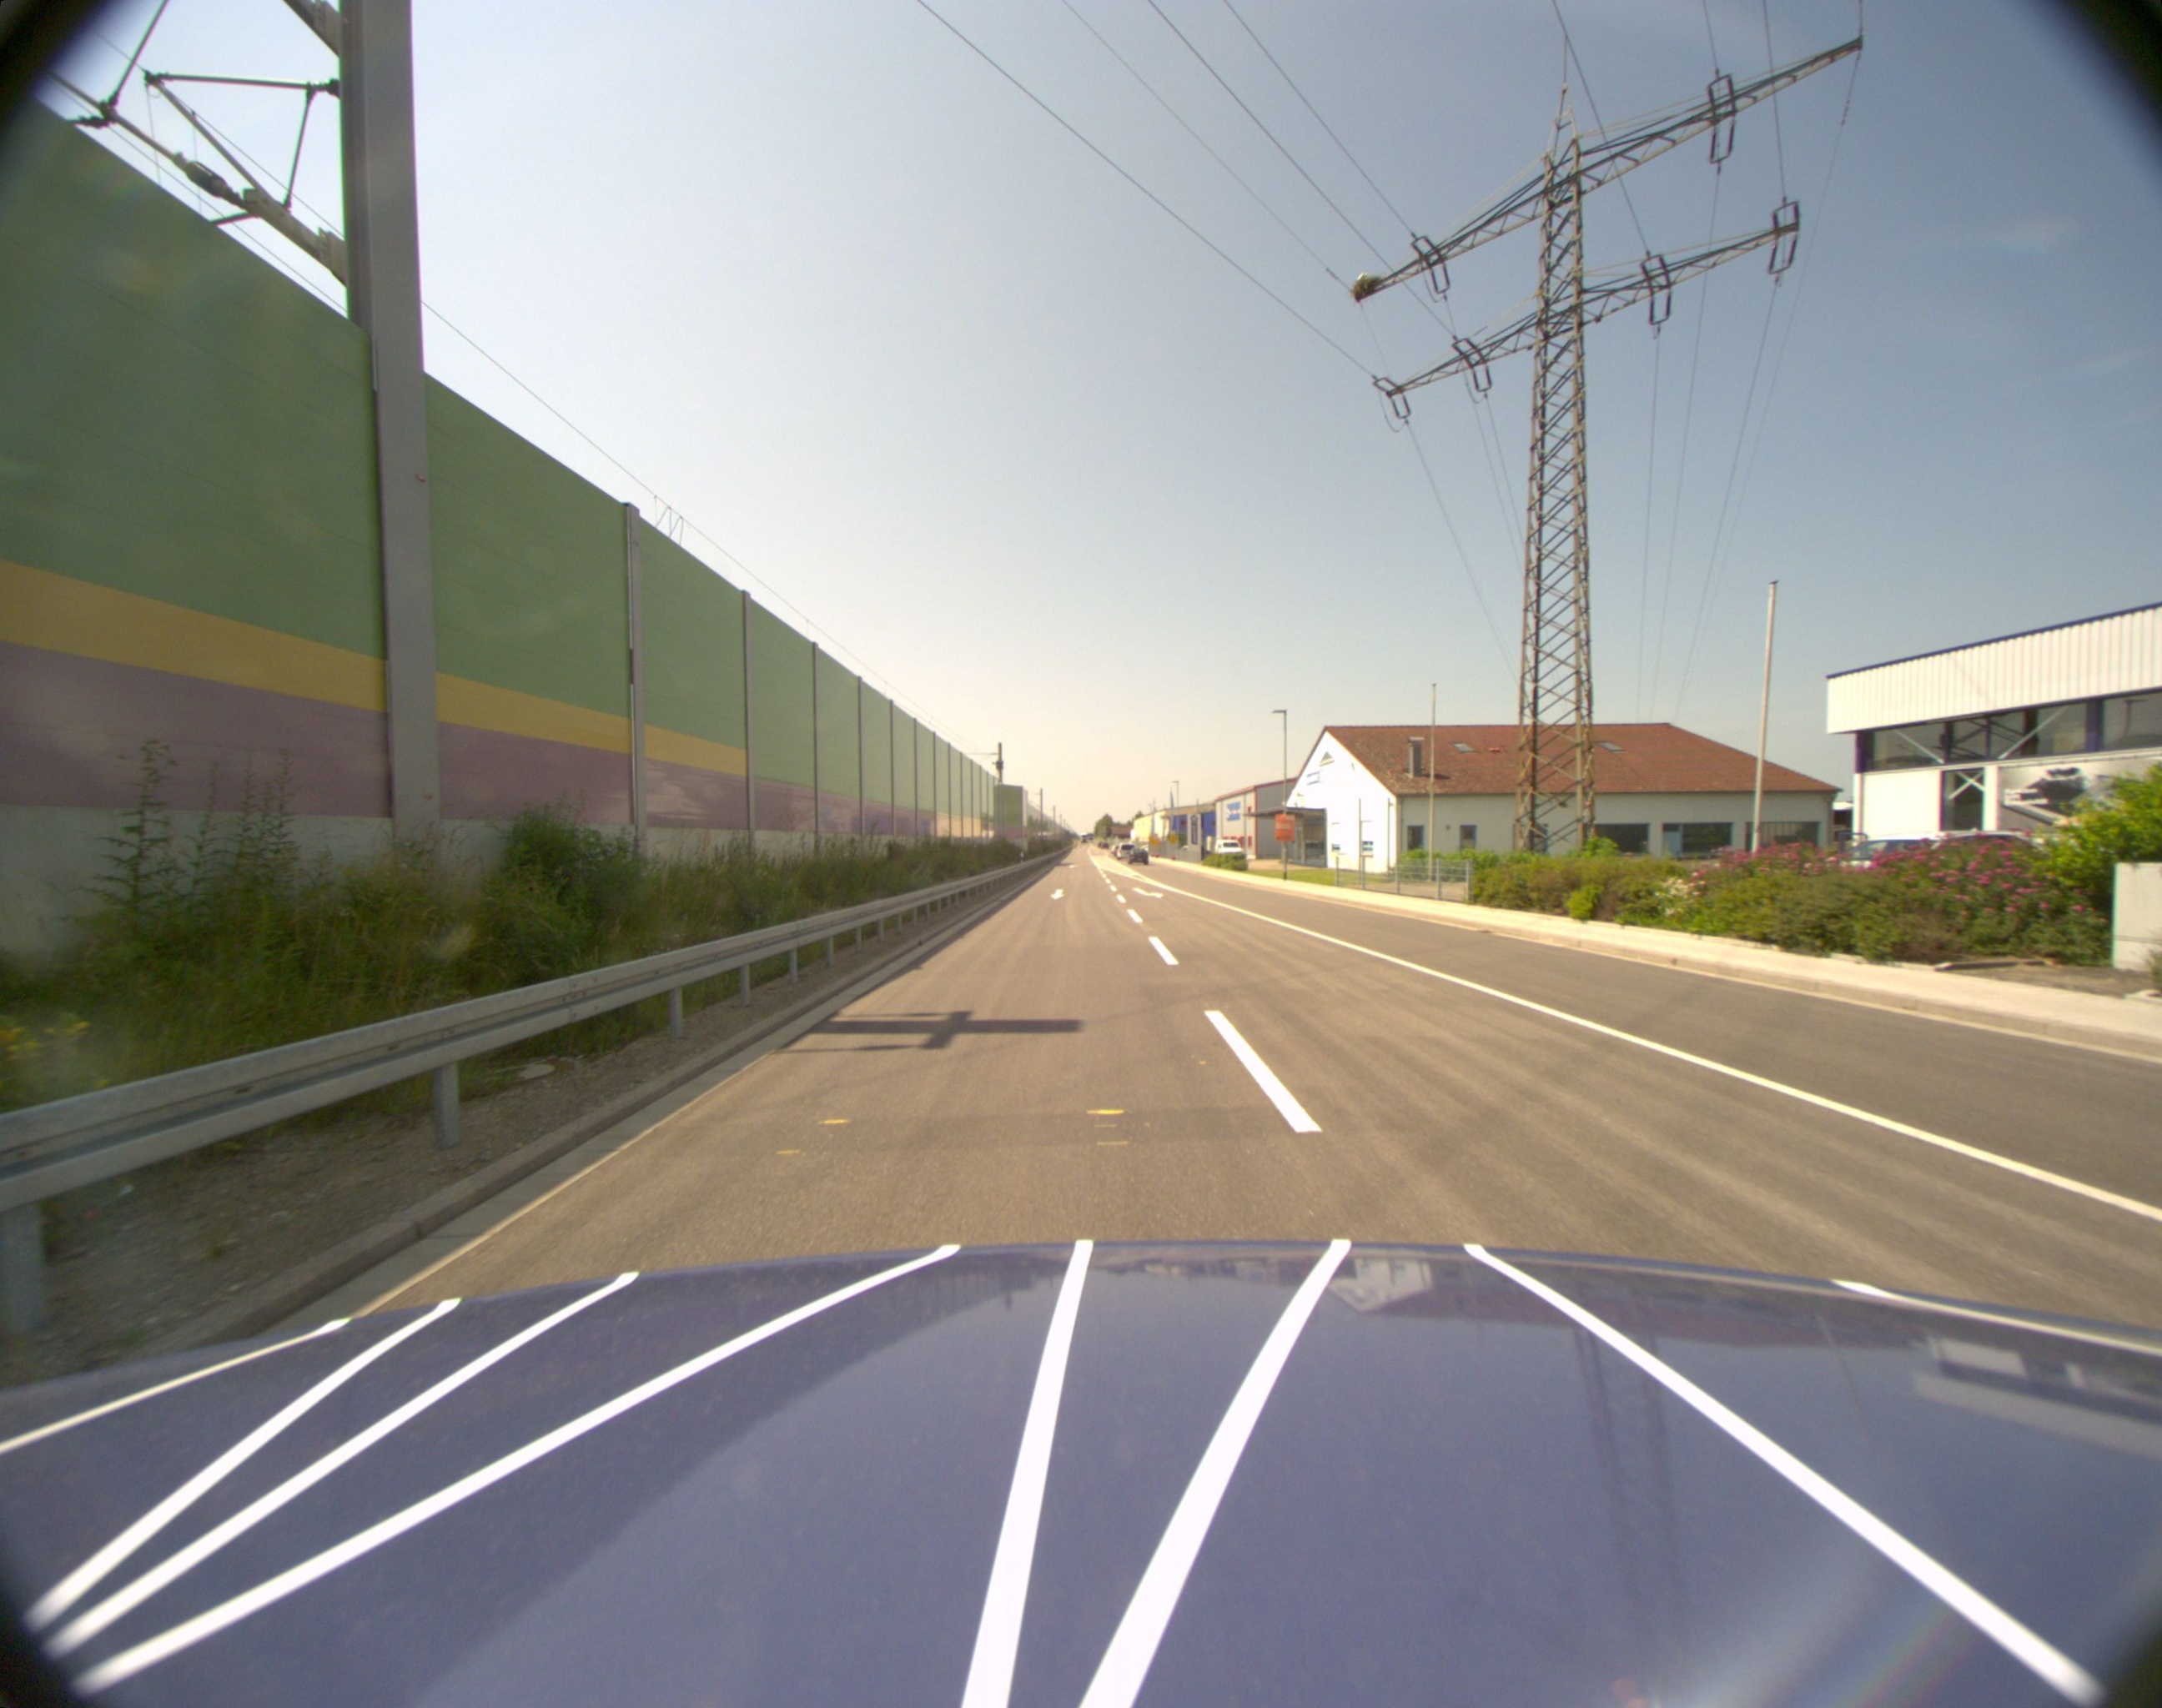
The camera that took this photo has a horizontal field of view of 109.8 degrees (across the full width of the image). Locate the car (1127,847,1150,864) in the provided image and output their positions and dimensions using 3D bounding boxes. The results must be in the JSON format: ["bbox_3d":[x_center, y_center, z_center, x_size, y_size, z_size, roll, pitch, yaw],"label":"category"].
[{"bbox_3d":[5.008,0.116,66.256,1.675,1.415,3.999,1,1,0],"label":"car"}]

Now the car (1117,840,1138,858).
[{"bbox_3d":[5.187,-0.576,85.671,1.999,1.863,5.167,0,2,-1],"label":"car"}]

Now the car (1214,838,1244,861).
[{"bbox_3d":[13.882,-0.469,71.355,1.998,2.002,4.679,0,2,1],"label":"car"}]

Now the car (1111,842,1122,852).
[{"bbox_3d":[5.895,-1.168,125.786,1.768,1.457,4.259,1,1,1],"label":"car"}]

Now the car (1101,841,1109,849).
[{"bbox_3d":[5.835,-2.160,181.907,1.886,1.607,4.522,2,1,2],"label":"car"}]

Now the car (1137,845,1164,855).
[{"bbox_3d":[11.653,-0.668,127.171,4.151,1.494,1.778,0,1,27],"label":"car"}]

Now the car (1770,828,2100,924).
[{"bbox_3d":[15.763,0.371,14.181,4.235,1.447,1.763,-3,1,-1],"label":"car"}]

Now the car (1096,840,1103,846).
[{"bbox_3d":[4.936,-3.042,204.414,1.746,1.585,3.795,1,1,0],"label":"car"}]

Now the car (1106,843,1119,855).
[{"bbox_3d":[4.379,-0.747,106.473,1.673,1.591,3.972,1,1,0],"label":"car"}]
